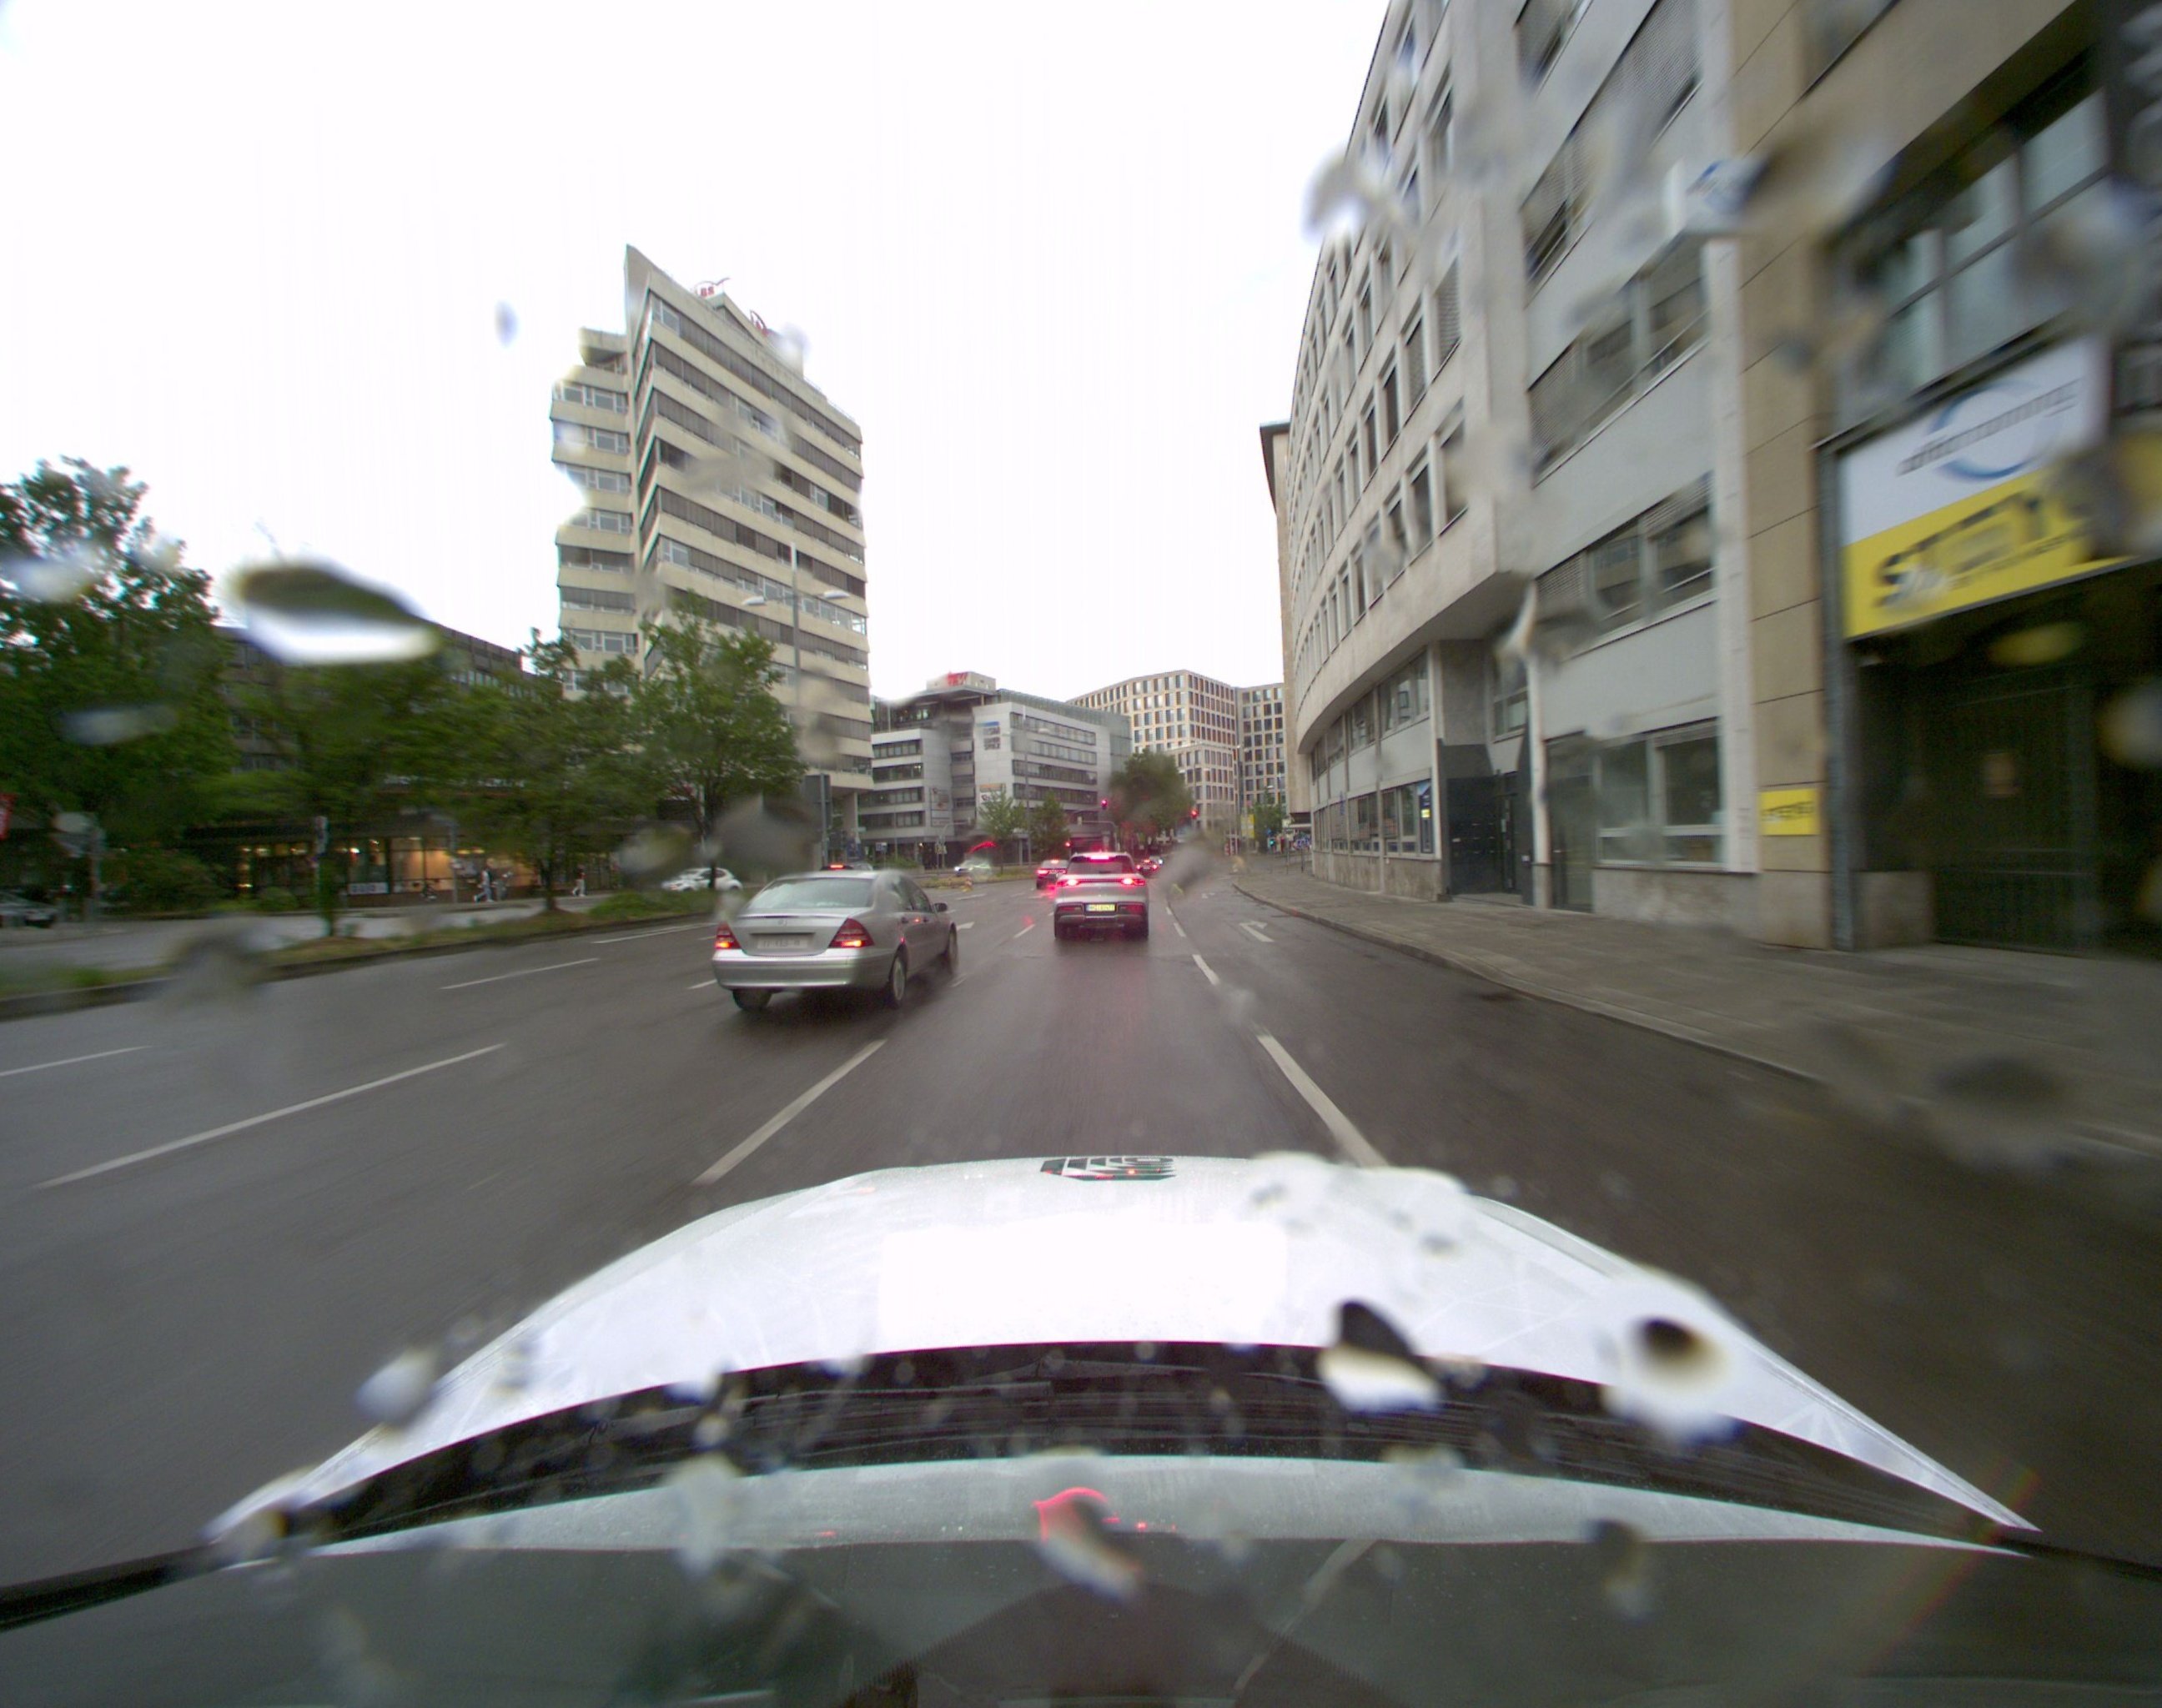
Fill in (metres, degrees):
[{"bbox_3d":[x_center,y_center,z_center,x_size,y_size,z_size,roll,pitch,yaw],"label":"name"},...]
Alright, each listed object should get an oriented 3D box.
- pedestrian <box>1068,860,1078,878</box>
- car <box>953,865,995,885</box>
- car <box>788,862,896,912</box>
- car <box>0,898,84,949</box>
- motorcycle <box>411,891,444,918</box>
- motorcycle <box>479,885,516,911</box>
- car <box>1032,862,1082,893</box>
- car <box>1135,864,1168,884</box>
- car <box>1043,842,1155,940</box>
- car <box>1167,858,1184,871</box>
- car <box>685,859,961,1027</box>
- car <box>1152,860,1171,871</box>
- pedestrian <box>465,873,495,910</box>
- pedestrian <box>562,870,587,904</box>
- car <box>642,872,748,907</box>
[{"bbox_3d":[-0.783,1.428,79.624,0.919,1.738,0.729,-2,-1,0],"label":"pedestrian"},{"bbox_3d":[-9.750,1.921,74.626,1.722,1.728,4.518,-1,-1,23],"label":"car"},{"bbox_3d":[-8.141,1.084,28.218,1.984,1.544,4.489,-2,-1,5],"label":"car"},{"bbox_3d":[-37.576,2.391,28.056,3.973,1.640,2.000,-1,-2,0],"label":"car"},{"bbox_3d":[-33.755,2.602,42.040,2.784,1.333,0.728,-2,-2,39],"label":"motorcycle"},{"bbox_3d":[-31.799,2.370,44.358,2.855,1.374,0.809,-2,-2,37],"label":"motorcycle"},{"bbox_3d":[-1.215,1.208,42.910,1.944,1.530,4.008,-1,-1,7],"label":"car"},{"bbox_3d":[5.780,1.597,66.590,1.940,1.530,4.016,-2,-1,15],"label":"car"},{"bbox_3d":[0.406,0.715,16.933,1.986,1.709,4.484,-2,-1,2],"label":"car"},{"bbox_3d":[16.430,1.819,141.366,1.722,2.161,4.518,-1,-1,23],"label":"car"},{"bbox_3d":[-2.676,0.854,9.533,1.675,1.486,4.199,-2,-1,3],"label":"car"},{"bbox_3d":[13.023,1.826,131.744,1.722,1.728,4.518,-1,-1,23],"label":"car"},{"bbox_3d":[-30.730,1.894,41.618,0.810,1.832,0.929,-2,-1,21],"label":"pedestrian"},{"bbox_3d":[-28.099,1.812,45.160,0.721,1.832,0.929,-2,-2,21],"label":"pedestrian"},{"bbox_3d":[-17.116,1.545,36.307,1.667,1.431,4.106,-2,-1,25],"label":"car"}]
